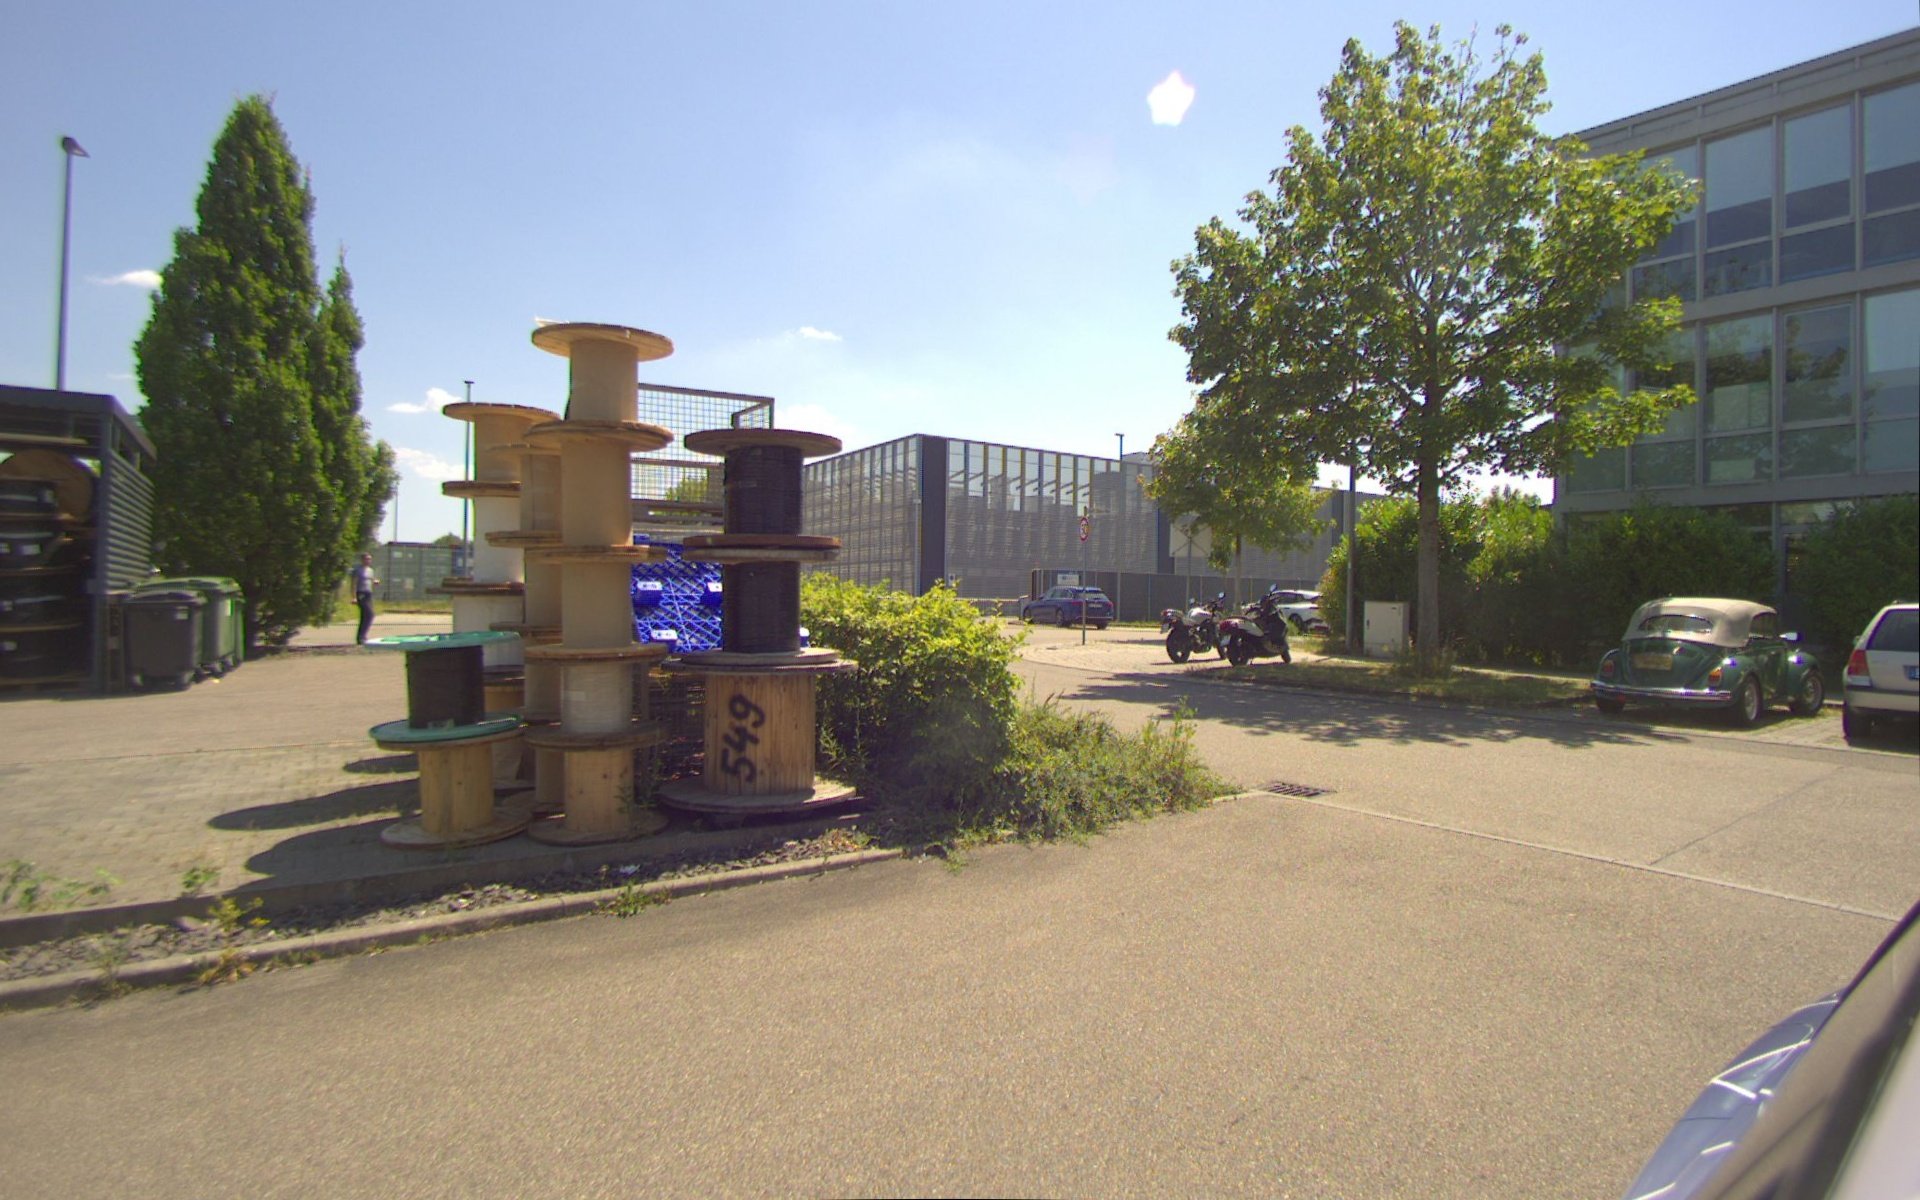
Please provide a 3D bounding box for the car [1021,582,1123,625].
[{"bbox_3d":[3.911,0.083,36.206,1.820,1.427,4.456,1,1,-20],"label":"car"}]

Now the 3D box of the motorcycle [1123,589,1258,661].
[{"bbox_3d":[4.390,0.433,19.144,2.782,1.275,0.874,0,1,-36],"label":"motorcycle"}]

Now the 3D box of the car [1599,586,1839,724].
[{"bbox_3d":[9.538,0.583,12.648,3.356,1.463,1.522,0,2,-37],"label":"car"}]

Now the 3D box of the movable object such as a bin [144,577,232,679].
[{"bbox_3d":[-10.391,0.352,13.651,0.785,1.314,0.757,0,1,-25],"label":"movable object such as a bin"}]

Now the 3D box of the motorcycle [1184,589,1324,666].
[{"bbox_3d":[5.296,0.453,18.152,2.782,1.275,0.874,0,1,-36],"label":"motorcycle"}]

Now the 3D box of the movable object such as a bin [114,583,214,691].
[{"bbox_3d":[-9.807,0.425,12.507,0.785,1.265,0.878,0,1,-25],"label":"movable object such as a bin"}]

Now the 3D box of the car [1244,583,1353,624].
[{"bbox_3d":[13.059,0.087,39.389,1.743,1.494,4.425,1,1,-18],"label":"car"}]

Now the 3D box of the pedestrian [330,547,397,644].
[{"bbox_3d":[-11.383,-0.099,19.328,0.756,1.790,0.807,2,1,9],"label":"pedestrian"}]

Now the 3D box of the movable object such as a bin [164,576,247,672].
[{"bbox_3d":[-10.746,0.322,14.439,0.785,1.314,0.811,0,1,-25],"label":"movable object such as a bin"}]

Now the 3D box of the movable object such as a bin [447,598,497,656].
[{"bbox_3d":[-8.206,0.439,17.023,0.581,0.929,0.541,1,1,32],"label":"movable object such as a bin"}]

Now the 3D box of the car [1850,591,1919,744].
[{"bbox_3d":[10.950,0.668,10.840,3.538,1.470,1.641,-1,2,-41],"label":"car"}]
